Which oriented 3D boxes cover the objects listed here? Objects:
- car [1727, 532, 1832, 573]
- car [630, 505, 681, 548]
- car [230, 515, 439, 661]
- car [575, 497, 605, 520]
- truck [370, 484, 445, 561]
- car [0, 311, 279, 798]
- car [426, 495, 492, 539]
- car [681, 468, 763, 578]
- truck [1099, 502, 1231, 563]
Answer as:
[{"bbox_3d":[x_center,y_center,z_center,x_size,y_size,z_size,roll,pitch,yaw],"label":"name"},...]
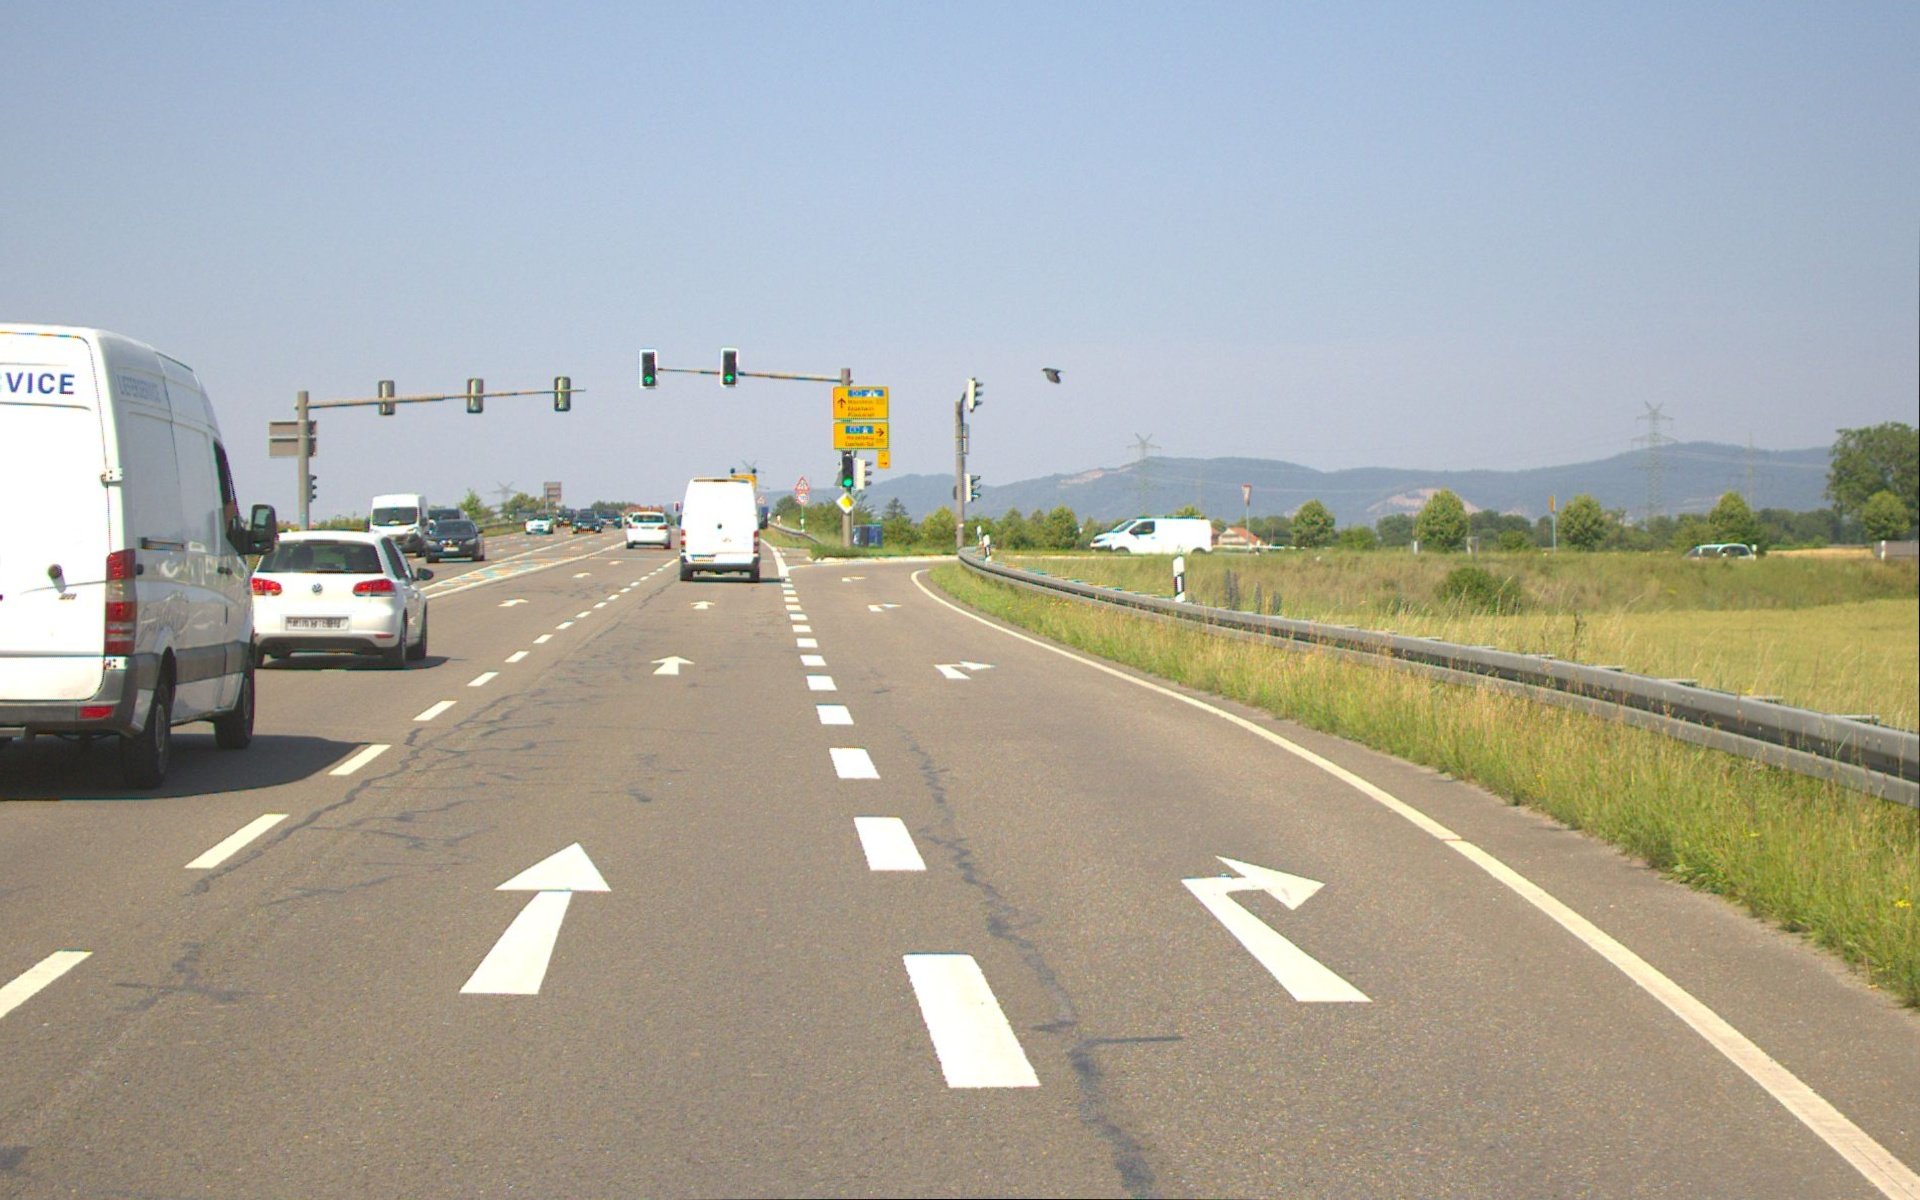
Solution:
[{"bbox_3d":[35.083,-2.033,147.200,3.986,1.678,2.000,1,0,-27],"label":"car"},{"bbox_3d":[-12.764,-3.057,144.266,1.993,1.697,4.275,1,0,-3],"label":"car"},{"bbox_3d":[-6.846,-0.171,37.978,1.799,1.503,4.197,0,1,-4],"label":"car"},{"bbox_3d":[-25.180,-6.215,233.918,1.635,1.481,4.000,1,0,0],"label":"car"},{"bbox_3d":[-21.948,-3.064,136.778,2.297,2.947,5.283,1,0,-2],"label":"truck"},{"bbox_3d":[-5.629,-0.320,21.290,2.039,2.611,5.742,0,1,-4],"label":"car"},{"bbox_3d":[-17.358,-2.870,119.238,1.857,1.418,4.000,1,0,-2],"label":"car"},{"bbox_3d":[-5.990,-1.927,86.661,1.993,2.686,4.970,0,1,-4],"label":"car"},{"bbox_3d":[8.218,-2.701,138.135,4.842,2.312,2.001,1,0,-18],"label":"truck"}]
